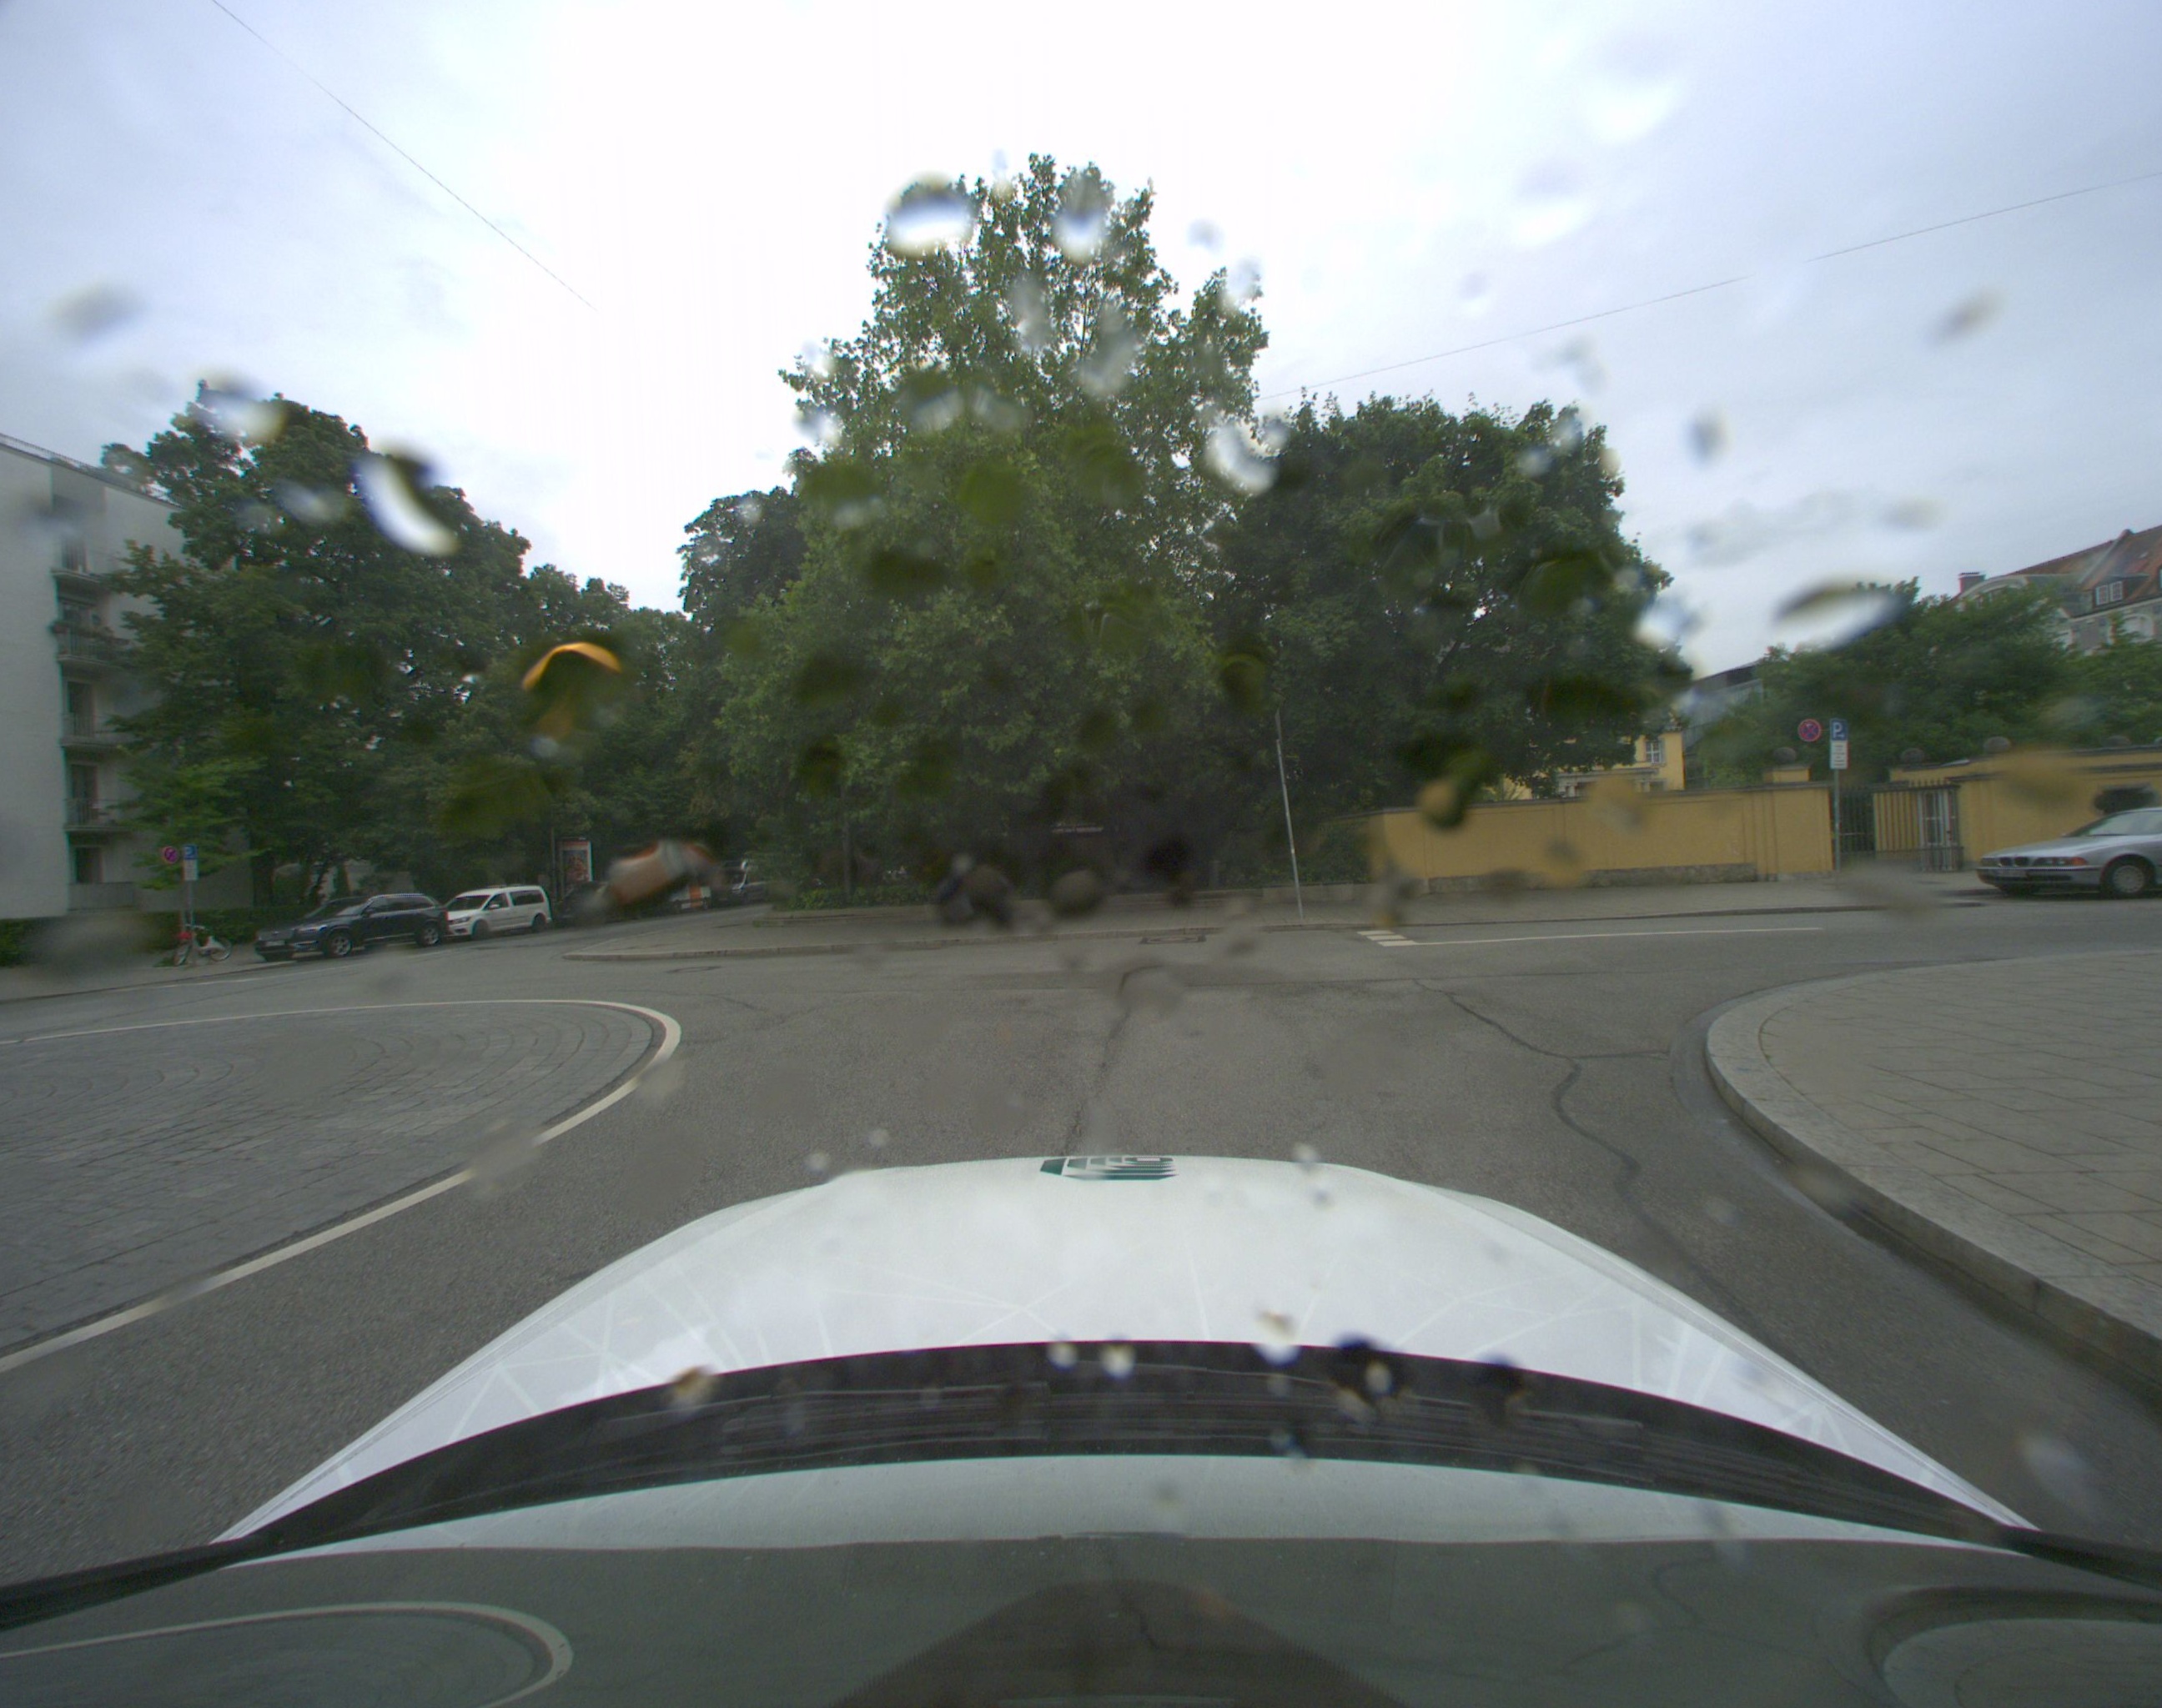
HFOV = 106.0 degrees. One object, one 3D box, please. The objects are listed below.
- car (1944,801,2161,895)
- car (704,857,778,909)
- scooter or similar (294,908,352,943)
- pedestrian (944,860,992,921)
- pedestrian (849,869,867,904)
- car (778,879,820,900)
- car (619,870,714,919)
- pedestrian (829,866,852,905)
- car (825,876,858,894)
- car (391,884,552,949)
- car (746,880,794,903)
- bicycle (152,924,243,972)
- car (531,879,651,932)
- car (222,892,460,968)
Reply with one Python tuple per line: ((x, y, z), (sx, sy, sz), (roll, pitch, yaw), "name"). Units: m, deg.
((17.431, -0.169, 13.291), (4.426, 1.368, 1.805), (-3, 0, 7), "car")
((-21.780, 1.803, 52.507), (2.167, 3.002, 6.228), (-3, -1, -2), "car")
((-29.551, 2.789, 31.793), (0.699, 1.191, 1.656), (-3, -1, -2), "scooter or similar")
((-2.640, 0.840, 19.157), (0.764, 1.356, 1.134), (-3, -1, 8), "pedestrian")
((-10.828, 1.564, 39.553), (0.636, 1.667, 0.692), (-3, -1, -23), "pedestrian")
((-22.058, 2.742, 63.820), (1.990, 1.420, 4.123), (-3, -1, -4), "car")
((-21.987, 2.079, 43.519), (2.077, 2.264, 5.600), (-5, -1, -1), "car")
((-11.827, 1.559, 39.989), (0.824, 1.836, 0.943), (-3, -1, -28), "pedestrian")
((-22.708, 2.956, 77.354), (1.990, 1.487, 4.123), (-3, -1, -4), "car")
((-21.887, 2.158, 29.563), (2.077, 1.903, 4.858), (-3, -1, 0), "car")
((-22.185, 2.668, 58.266), (1.990, 1.420, 3.994), (-3, -1, -4), "car")
((-24.364, 2.577, 22.501), (0.751, 1.085, 1.777), (-3, -1, -11), "bicycle")
((-21.791, 2.231, 36.556), (2.021, 1.908, 5.661), (-5, -1, -2), "car")
((-21.705, 2.142, 24.310), (2.076, 1.719, 5.306), (-3, -1, 1), "car")
